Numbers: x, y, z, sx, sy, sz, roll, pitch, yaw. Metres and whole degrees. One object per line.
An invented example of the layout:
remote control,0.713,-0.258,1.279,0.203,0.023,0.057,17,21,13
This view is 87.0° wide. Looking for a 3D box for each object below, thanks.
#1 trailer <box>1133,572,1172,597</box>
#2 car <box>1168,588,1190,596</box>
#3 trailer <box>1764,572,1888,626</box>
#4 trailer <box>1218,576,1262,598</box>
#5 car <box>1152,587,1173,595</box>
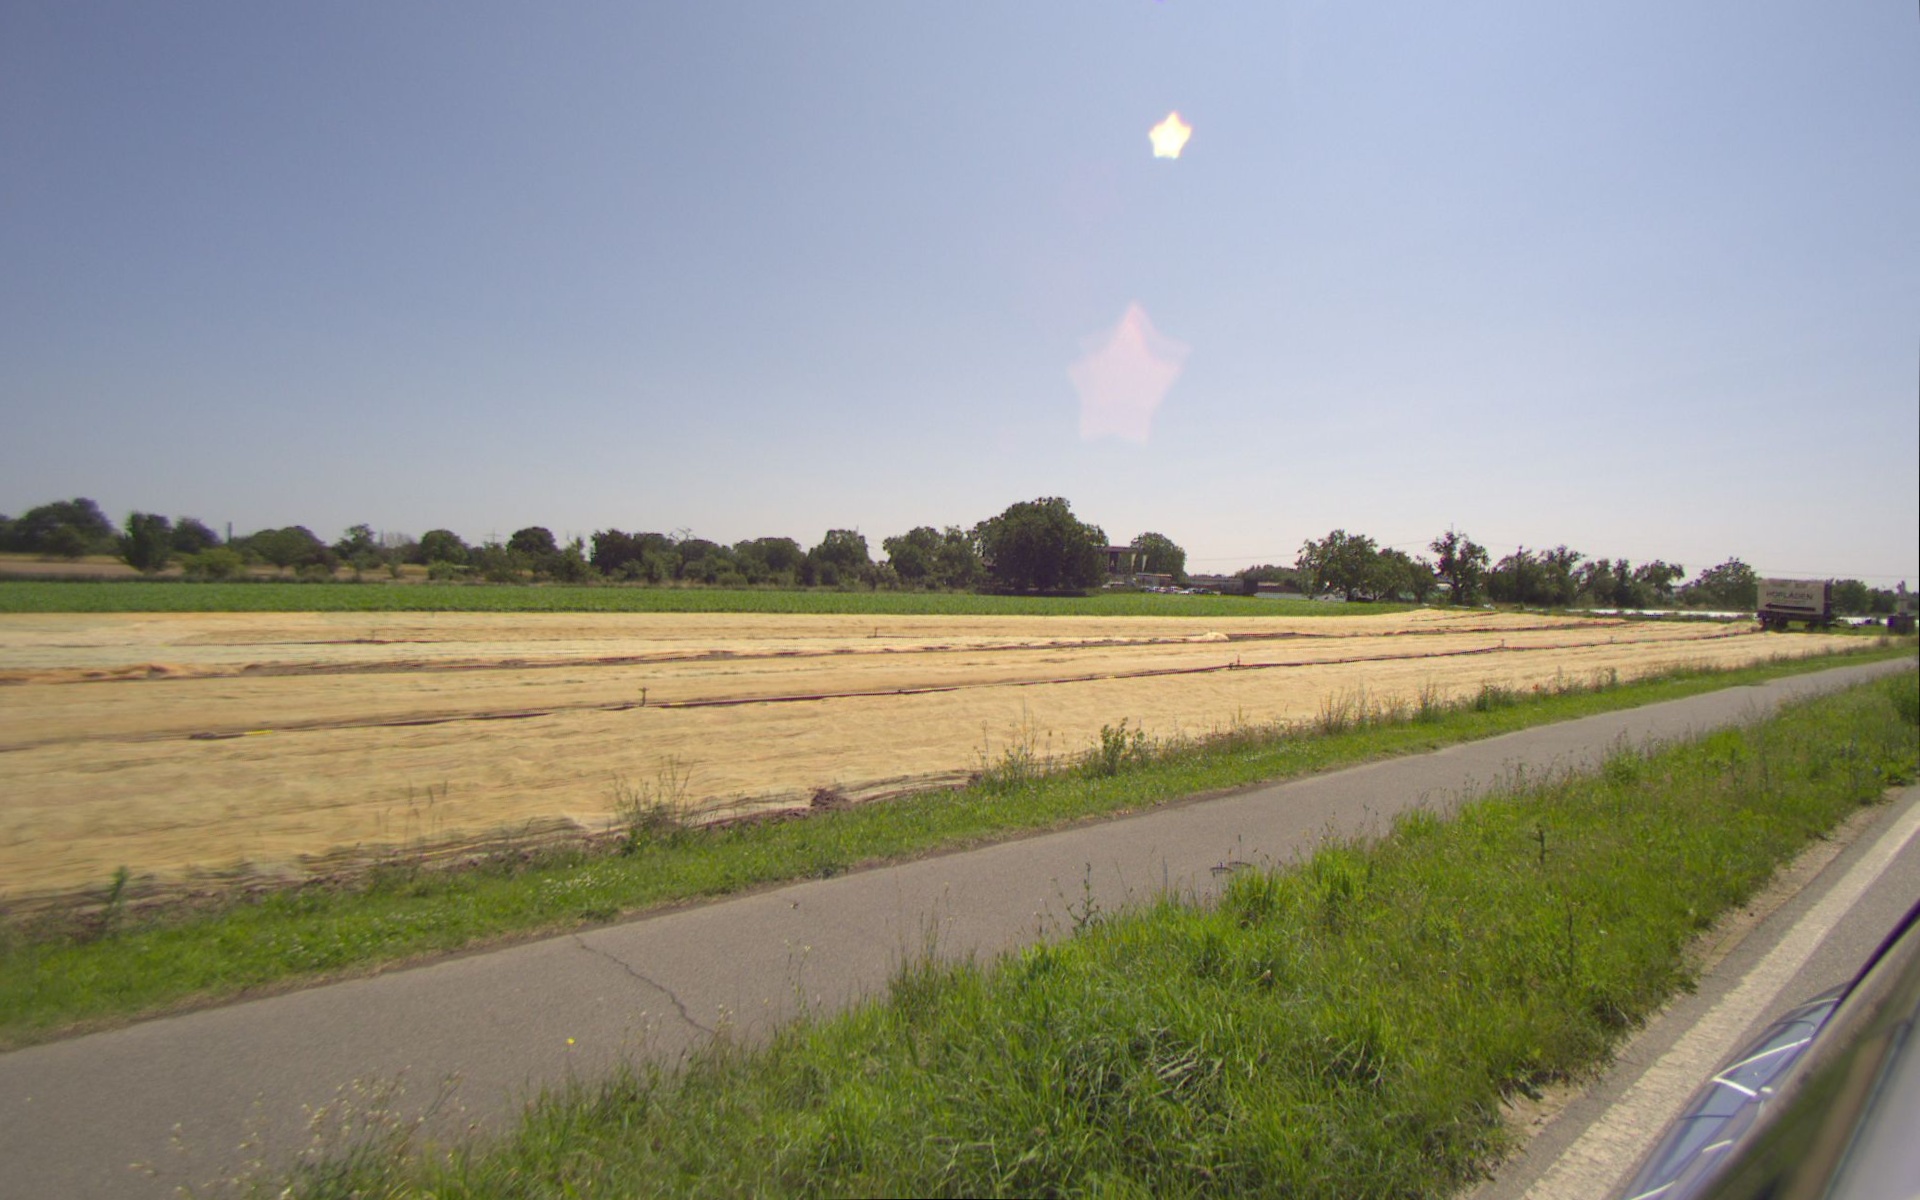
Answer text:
trailer,34.838,-2.826,183.494,3.093,4.274,7.452,0,1,-28
car,34.564,-1.279,159.485,3.211,1.213,1.299,1,1,-25
trailer,51.426,-0.121,60.254,1.958,2.988,5.308,-1,2,-21
trailer,43.043,-2.017,155.961,3.191,3.335,7.457,0,1,-15
car,33.099,-1.518,165.456,3.211,1.213,1.299,1,1,-25
